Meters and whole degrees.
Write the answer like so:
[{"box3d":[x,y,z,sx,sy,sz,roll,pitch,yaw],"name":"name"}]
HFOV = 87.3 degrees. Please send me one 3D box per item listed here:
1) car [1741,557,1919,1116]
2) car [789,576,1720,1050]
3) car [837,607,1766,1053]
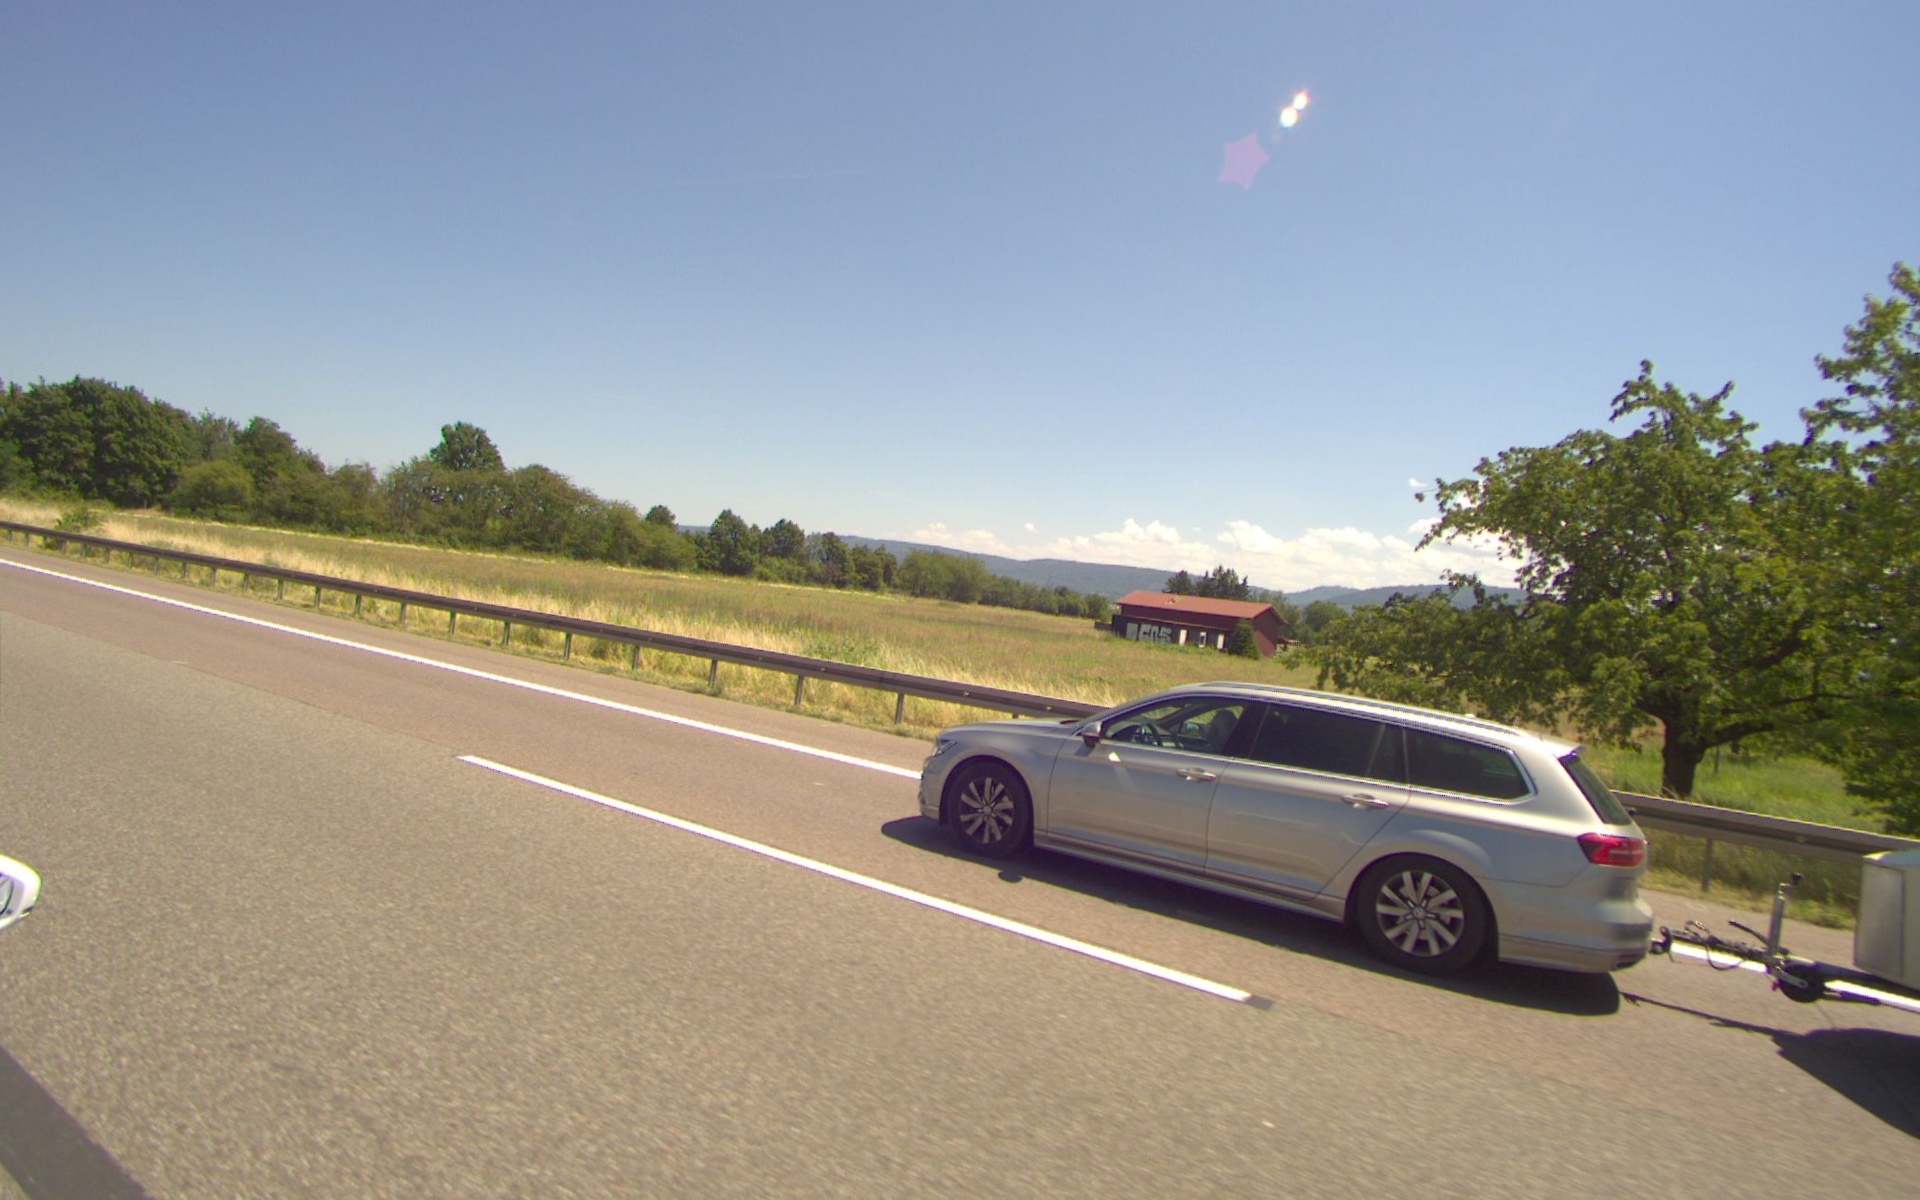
[{"box3d":[6.810,1.360,4.055,5.231,2.351,2.446,8,1,30],"name":"car"},{"box3d":[1.646,1.046,6.997,5.416,1.678,2.048,8,0,30],"name":"car"},{"box3d":[1.903,1.176,6.882,5.290,1.532,1.891,7,-2,32],"name":"car"}]
